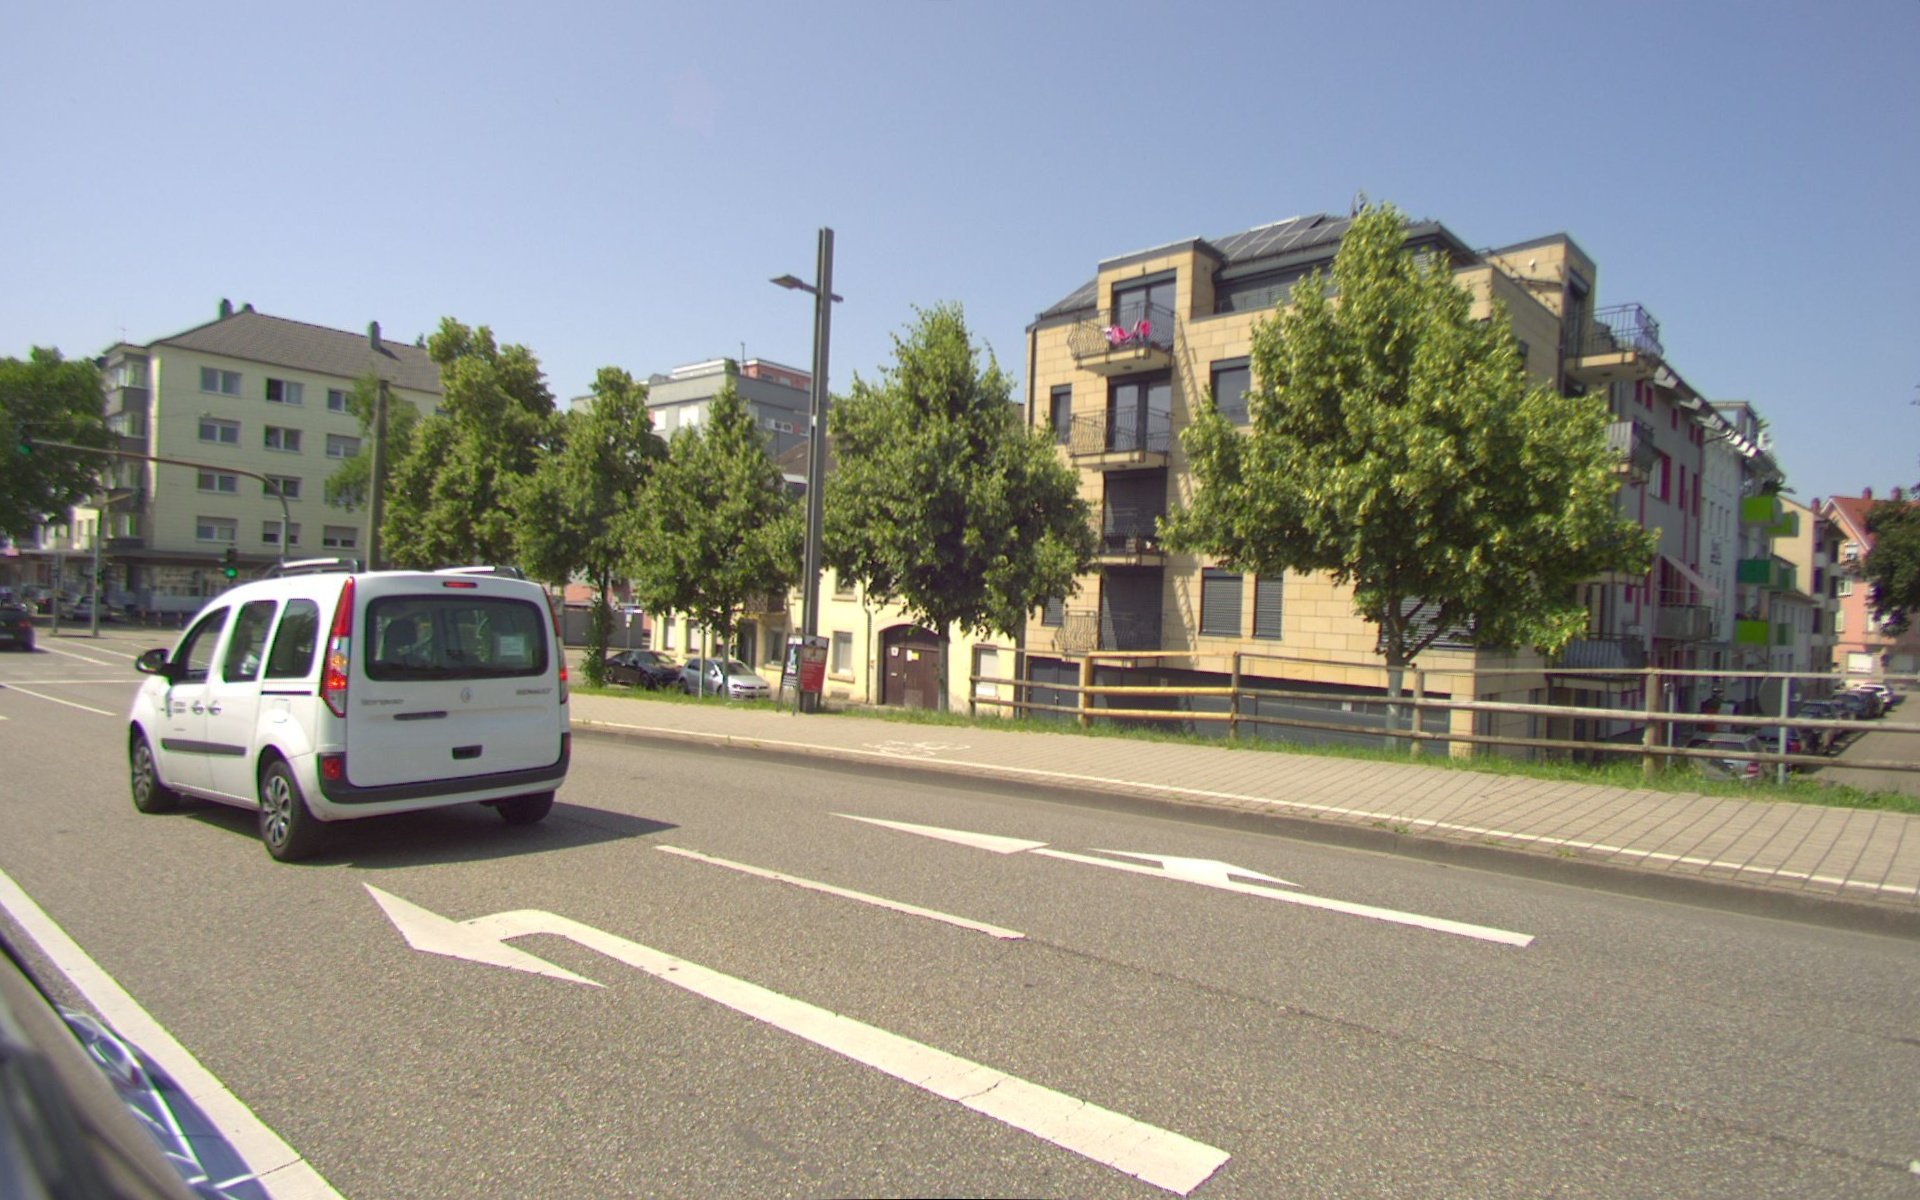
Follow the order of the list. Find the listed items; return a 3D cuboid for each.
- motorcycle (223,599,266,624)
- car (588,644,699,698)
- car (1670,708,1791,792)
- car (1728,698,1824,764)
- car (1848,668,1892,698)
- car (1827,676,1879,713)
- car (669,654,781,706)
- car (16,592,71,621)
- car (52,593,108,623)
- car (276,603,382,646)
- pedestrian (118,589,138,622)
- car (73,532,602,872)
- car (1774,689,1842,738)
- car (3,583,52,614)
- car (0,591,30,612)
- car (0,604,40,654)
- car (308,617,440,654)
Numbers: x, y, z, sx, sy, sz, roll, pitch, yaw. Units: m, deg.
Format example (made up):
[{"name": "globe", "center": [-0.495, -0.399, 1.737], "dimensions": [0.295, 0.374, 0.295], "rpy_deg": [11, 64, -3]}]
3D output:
[{"name": "motorcycle", "center": [-42.047, 0.658, 59.479], "dimensions": [0.713, 1.431, 1.896], "rpy_deg": [4, 2, 38]}, {"name": "car", "center": [-12.341, 2.731, 39.236], "dimensions": [5.289, 1.640, 1.794], "rpy_deg": [2, -2, 45]}, {"name": "car", "center": [19.159, 3.628, 25.103], "dimensions": [2.000, 1.662, 3.943], "rpy_deg": [0, -3, 43]}, {"name": "car", "center": [24.711, 3.886, 30.604], "dimensions": [2.000, 1.662, 3.943], "rpy_deg": [0, -3, 43]}, {"name": "car", "center": [57.379, 5.190, 63.794], "dimensions": [2.000, 1.662, 3.943], "rpy_deg": [0, -1, 43]}, {"name": "car", "center": [47.457, 4.995, 53.758], "dimensions": [2.000, 1.662, 3.943], "rpy_deg": [0, -1, 43]}, {"name": "car", "center": [-8.281, 2.748, 35.480], "dimensions": [1.755, 1.443, 4.432], "rpy_deg": [0, 0, -45]}, {"name": "car", "center": [-55.002, 0.382, 60.708], "dimensions": [4.832, 1.580, 1.607], "rpy_deg": [2, 0, 38]}, {"name": "car", "center": [-48.653, 0.444, 55.933], "dimensions": [3.934, 1.469, 1.567], "rpy_deg": [2, 0, 37]}, {"name": "car", "center": [-29.083, 1.171, 46.730], "dimensions": [1.890, 1.748, 3.653], "rpy_deg": [2, -2, 35]}, {"name": "pedestrian", "center": [-46.158, 0.327, 56.150], "dimensions": [0.742, 1.773, 0.621], "rpy_deg": [3, 0, 37]}, {"name": "car", "center": [-4.920, 0.647, 7.734], "dimensions": [4.654, 1.874, 1.820], "rpy_deg": [-2, -3, 37]}, {"name": "car", "center": [35.580, 4.697, 42.431], "dimensions": [2.000, 1.662, 3.943], "rpy_deg": [0, -1, 43]}, {"name": "car", "center": [-59.481, -0.108, 64.516], "dimensions": [3.853, 1.853, 1.624], "rpy_deg": [1, 0, 37]}, {"name": "car", "center": [-63.916, 0.112, 67.781], "dimensions": [3.855, 1.296, 1.684], "rpy_deg": [2, 1, 37]}, {"name": "car", "center": [-31.752, 0.900, 33.145], "dimensions": [4.026, 1.496, 1.697], "rpy_deg": [2, -2, 39]}, {"name": "car", "center": [-26.019, 1.603, 45.096], "dimensions": [2.111, 1.411, 4.567], "rpy_deg": [2, -3, 33]}]
